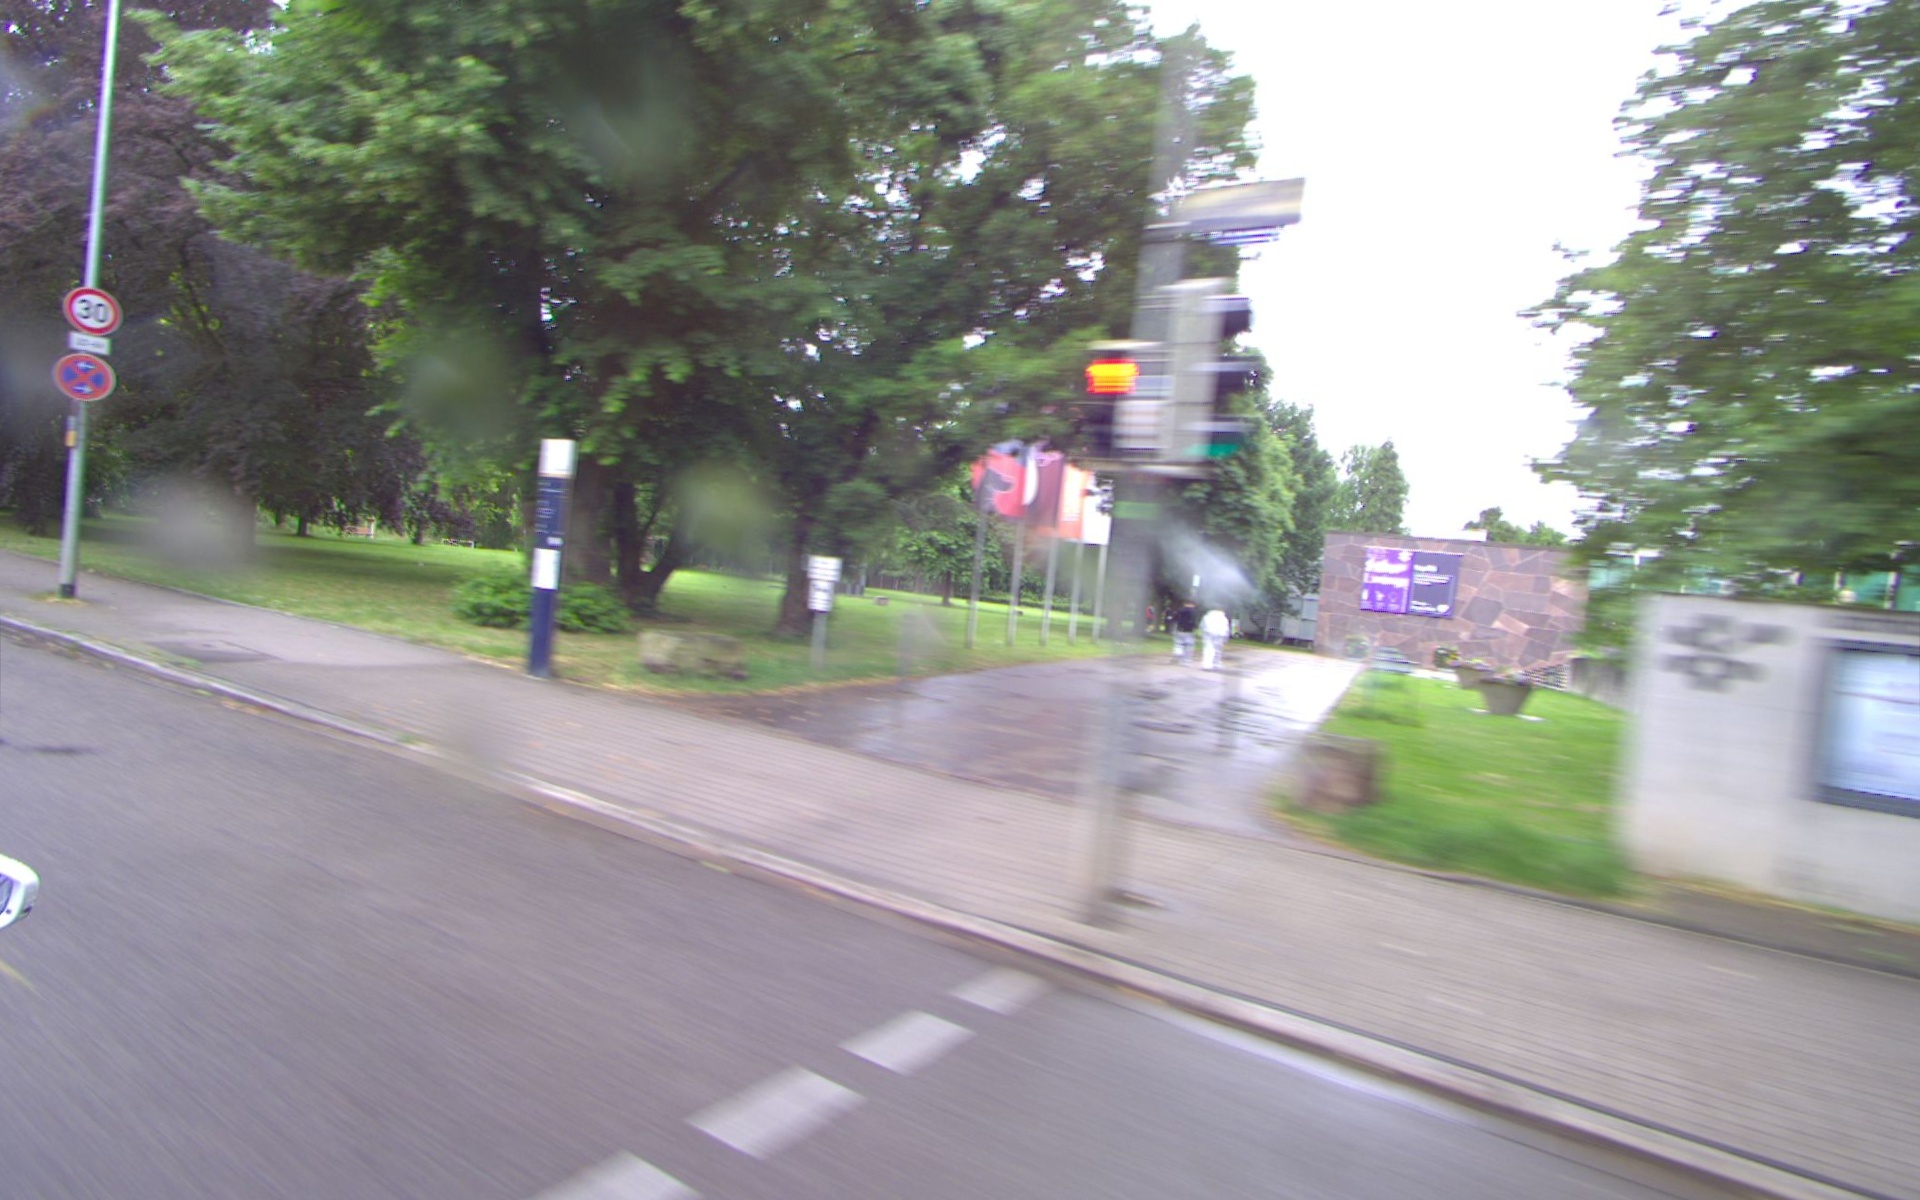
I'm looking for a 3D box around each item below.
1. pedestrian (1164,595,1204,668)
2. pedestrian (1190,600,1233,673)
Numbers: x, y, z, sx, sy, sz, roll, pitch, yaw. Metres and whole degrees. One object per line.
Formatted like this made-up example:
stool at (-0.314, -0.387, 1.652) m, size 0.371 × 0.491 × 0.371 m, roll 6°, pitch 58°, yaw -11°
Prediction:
pedestrian at (5.782, 0.821, 25.967) m, size 0.711 × 1.777 × 0.666 m, roll 6°, pitch -1°, yaw 23°
pedestrian at (6.348, 0.917, 25.357) m, size 0.776 × 1.732 × 0.666 m, roll 6°, pitch -1°, yaw 23°
